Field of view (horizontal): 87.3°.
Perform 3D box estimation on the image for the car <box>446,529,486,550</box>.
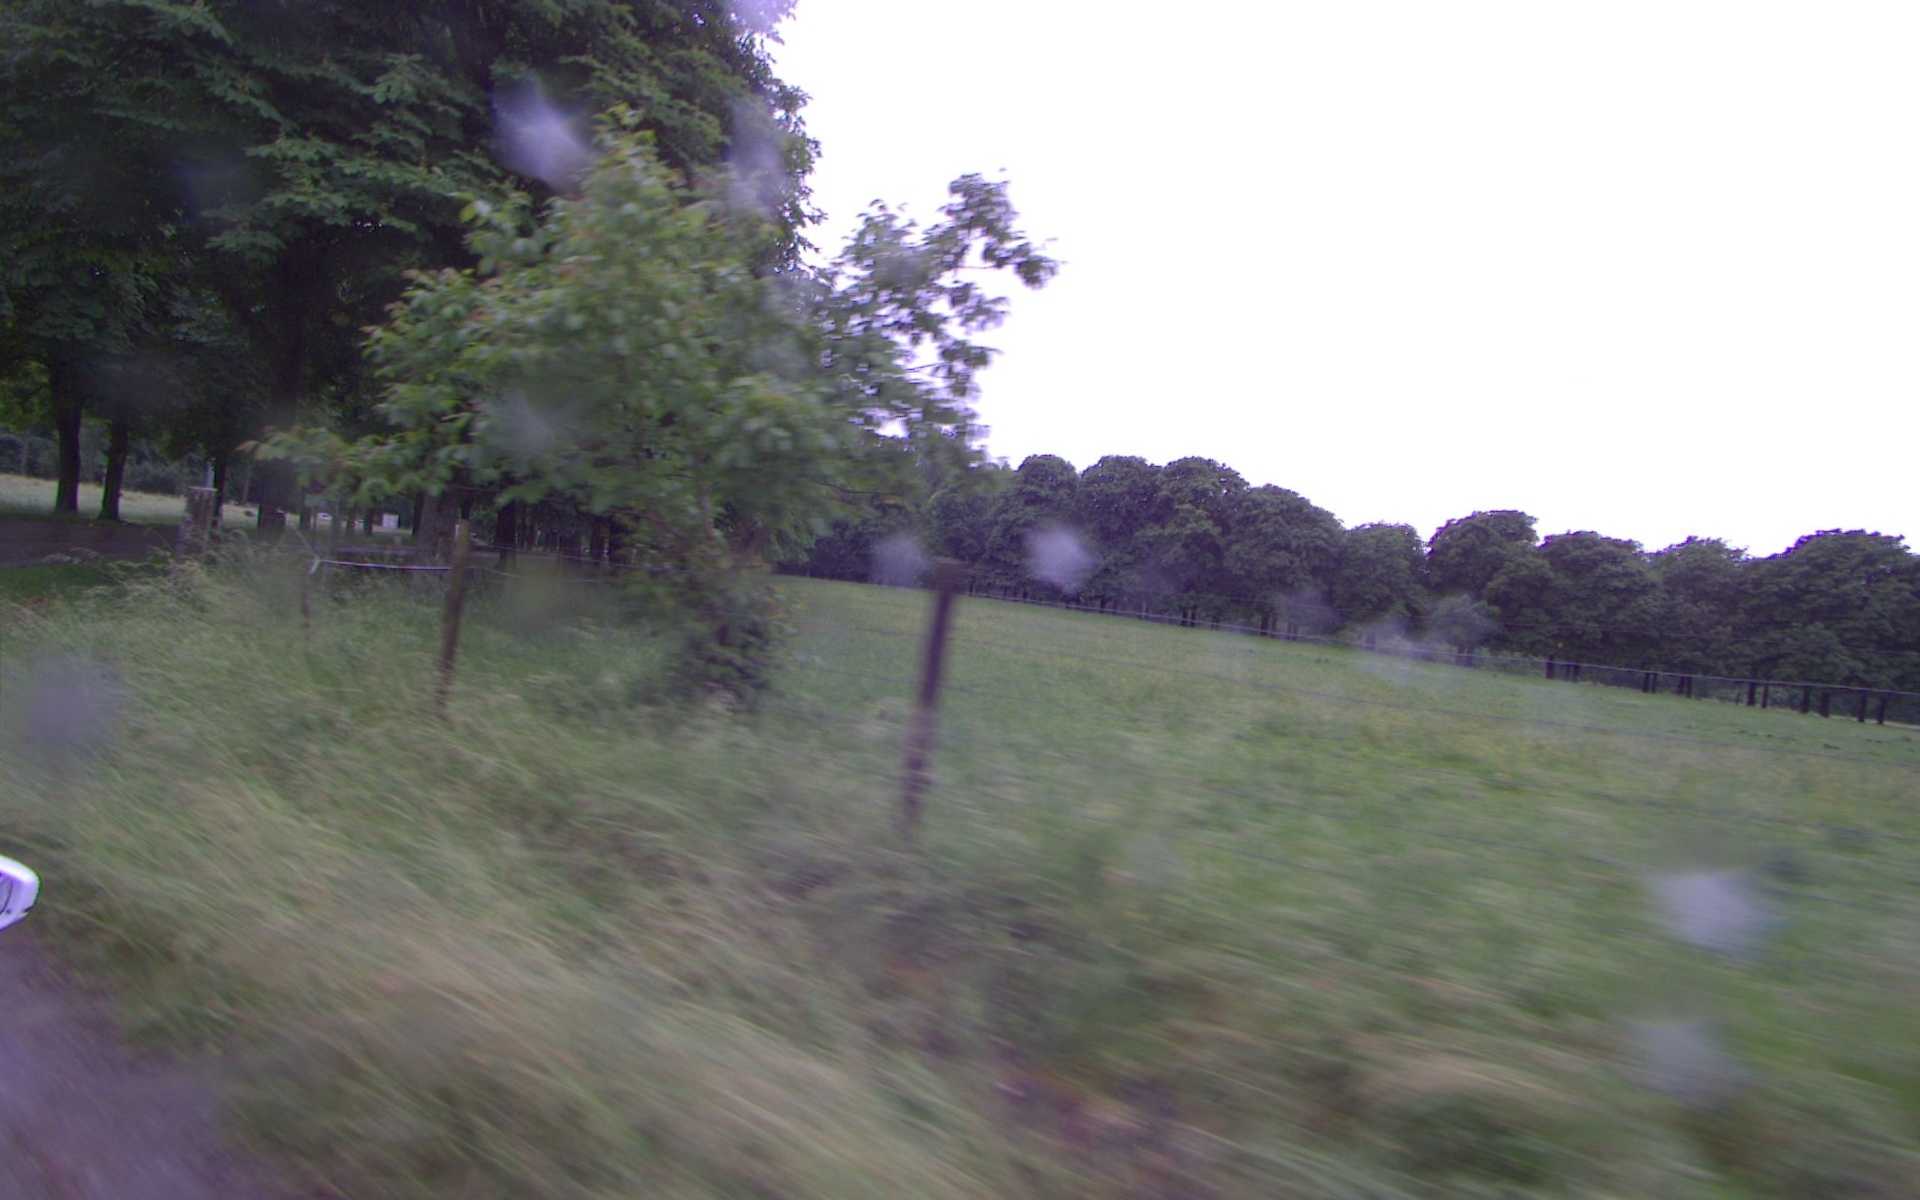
[{"bbox_3d":[-74.007,-9.120,150.725,5.885,2.435,2.389,6,-2,32],"label":"car"}]
